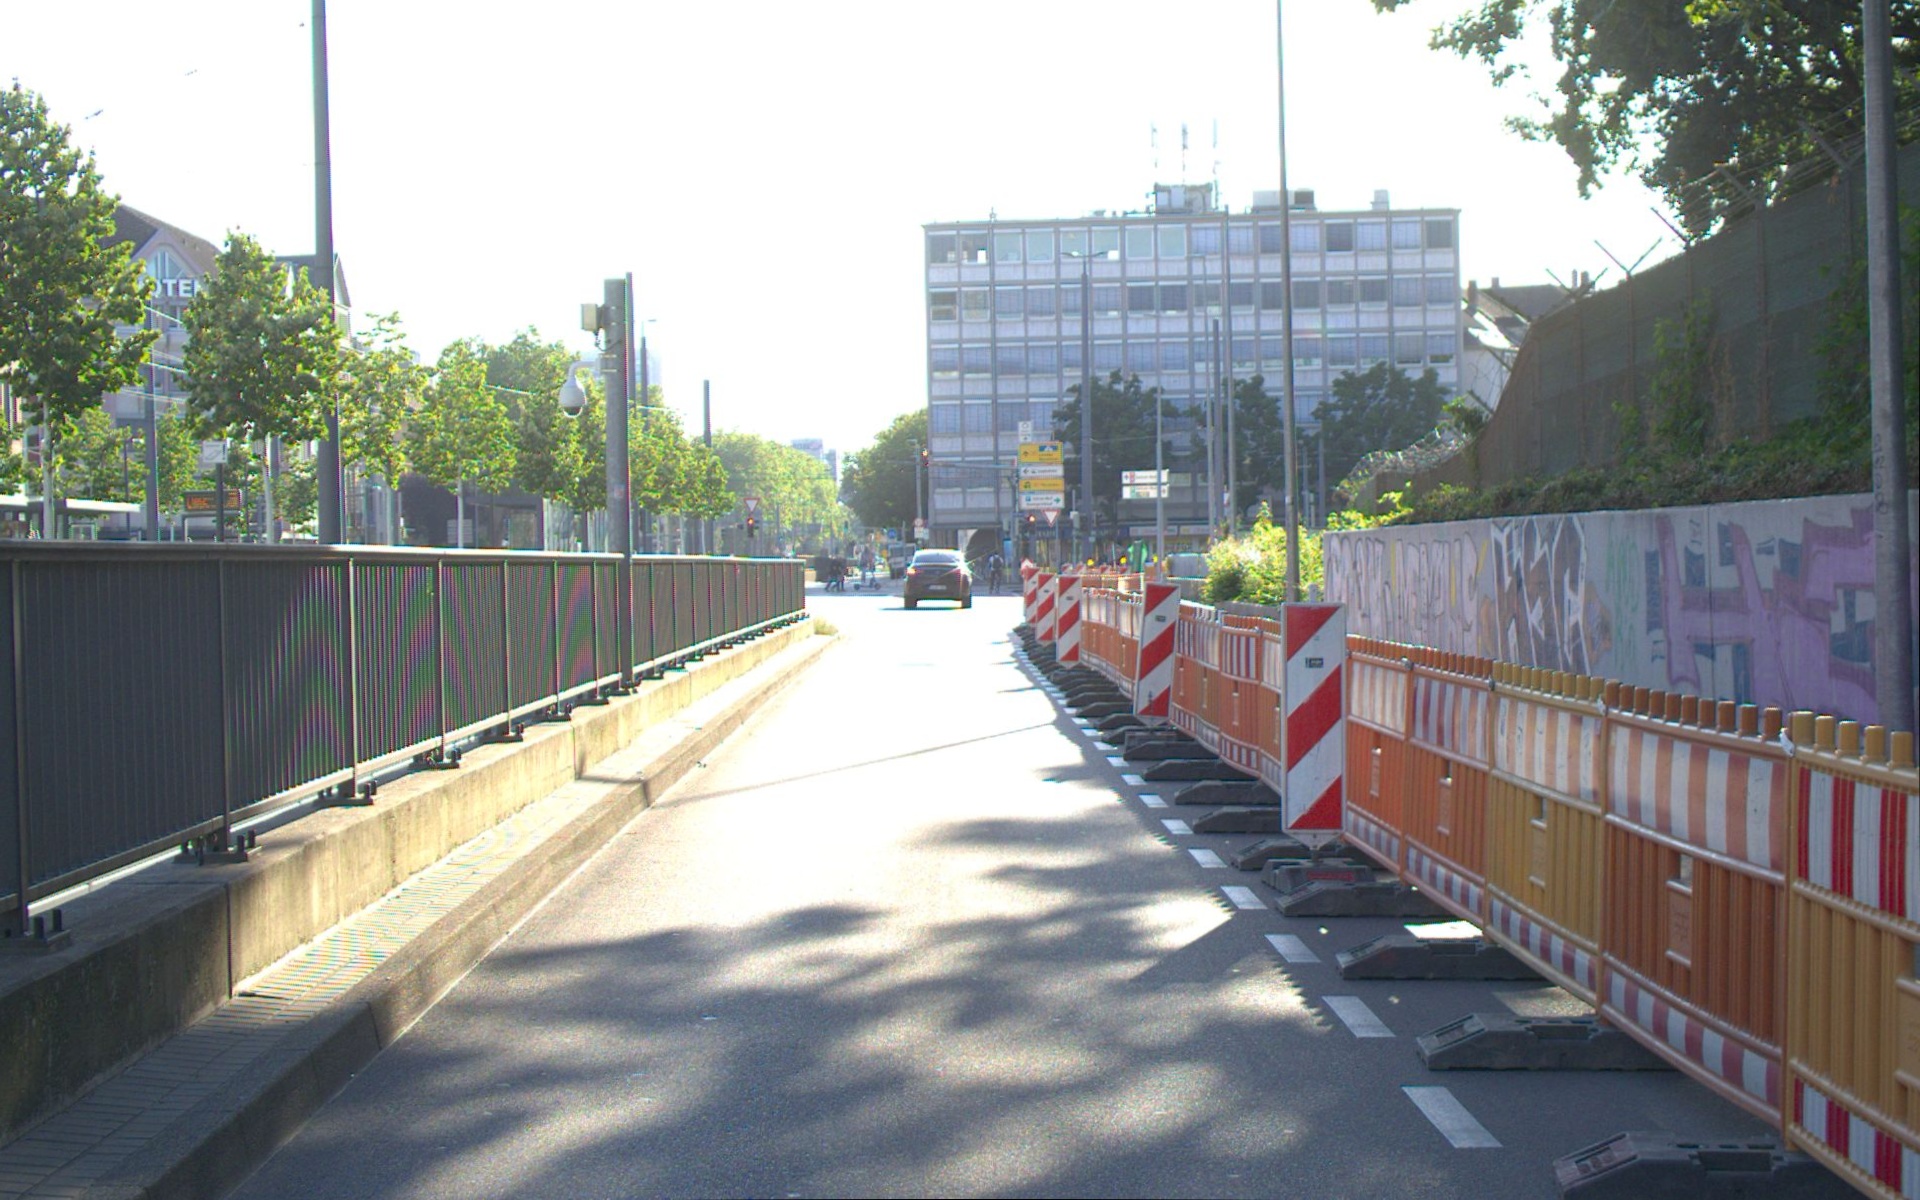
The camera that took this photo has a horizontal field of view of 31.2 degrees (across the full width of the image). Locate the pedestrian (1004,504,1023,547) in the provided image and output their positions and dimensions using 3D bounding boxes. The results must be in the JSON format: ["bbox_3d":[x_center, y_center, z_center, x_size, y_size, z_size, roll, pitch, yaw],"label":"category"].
[{"bbox_3d":[2.669,-3.687,170.479,0.891,2.105,0.718,0,1,5],"label":"pedestrian"}]

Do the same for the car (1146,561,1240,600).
[{"bbox_3d":[10.304,-0.862,151.949,3.988,1.634,1.999,1,0,9],"label":"car"}]

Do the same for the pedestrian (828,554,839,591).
[{"bbox_3d":[-5.413,-1.160,147.057,0.275,1.569,0.440,1,0,-26],"label":"pedestrian"}]

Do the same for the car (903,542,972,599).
[{"bbox_3d":[-0.654,-0.867,102.936,2.005,1.653,4.000,1,0,0],"label":"car"}]
